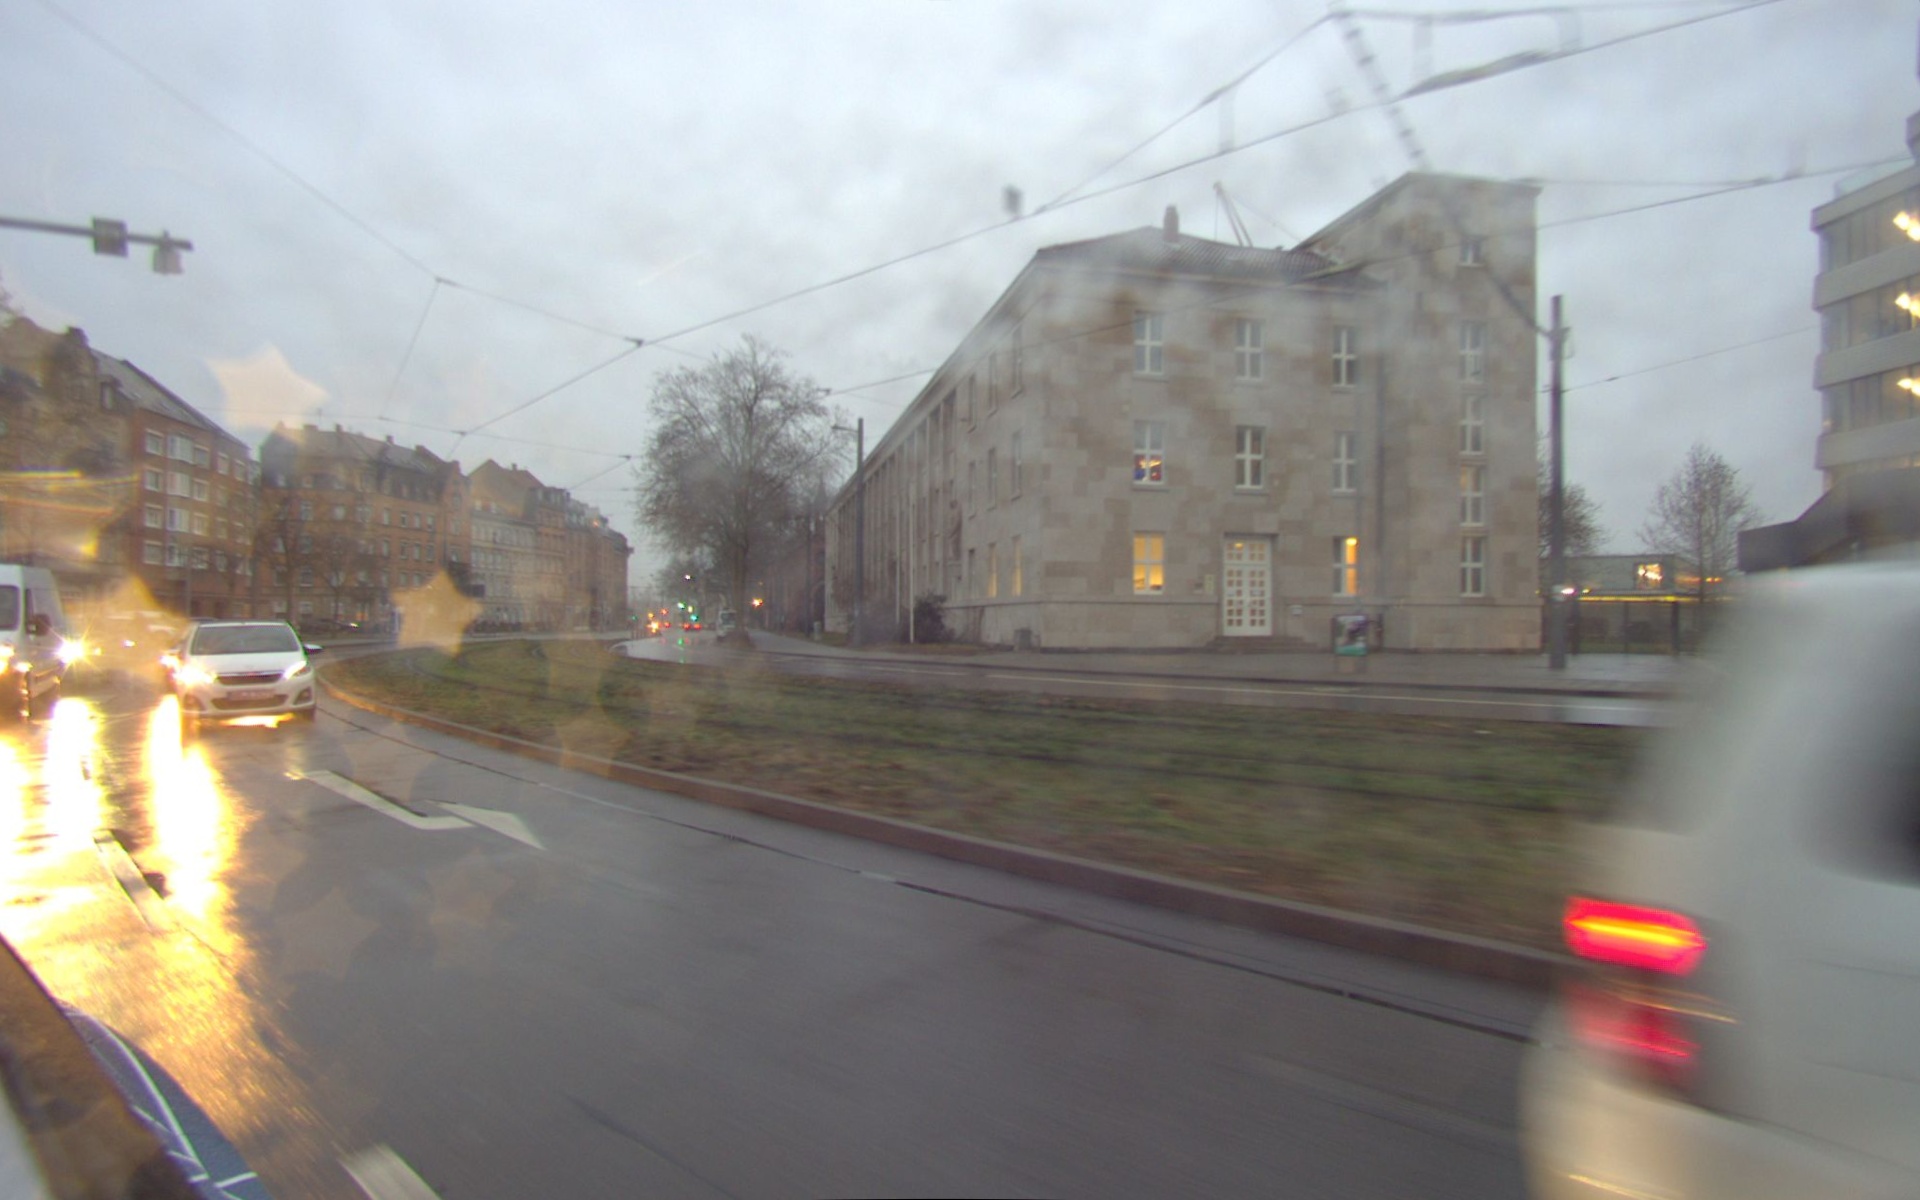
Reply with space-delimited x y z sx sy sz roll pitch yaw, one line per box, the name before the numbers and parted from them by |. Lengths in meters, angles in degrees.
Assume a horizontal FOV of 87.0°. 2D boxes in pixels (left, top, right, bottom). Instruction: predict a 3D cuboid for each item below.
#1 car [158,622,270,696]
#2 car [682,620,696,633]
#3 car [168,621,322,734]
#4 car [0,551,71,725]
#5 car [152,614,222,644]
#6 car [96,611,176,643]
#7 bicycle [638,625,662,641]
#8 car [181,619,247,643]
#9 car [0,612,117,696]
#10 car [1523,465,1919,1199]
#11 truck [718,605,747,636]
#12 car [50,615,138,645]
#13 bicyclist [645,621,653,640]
car | -16.789 1.274 22.941 1.846 1.486 4.181 0 -2 -34
car | -36.390 3.574 135.960 1.662 1.652 3.657 1 -2 -14
car | -10.514 1.030 14.829 1.663 1.441 3.353 0 -1 -38
car | -16.037 0.588 16.230 2.207 2.481 5.682 0 -1 -37
car | -44.577 1.676 58.448 3.134 1.636 1.449 1 -2 -36
car | -43.196 1.442 53.144 3.134 1.636 1.431 1 -2 -36
bicycle | -33.468 3.546 109.243 2.411 1.719 0.848 0 0 -18
car | -45.215 1.901 61.389 3.133 1.424 1.385 1 -2 -34
car | -20.272 1.136 22.542 1.846 1.701 4.182 0 -1 -34
car | 3.049 0.591 0.869 4.221 1.611 1.654 -1 -1 41
truck | -15.471 1.389 68.928 1.808 2.060 4.009 0 -2 -11
car | -42.680 1.477 49.951 3.134 1.440 1.431 1 -2 -36
bicyclist | -33.560 3.253 109.212 0.766 2.029 0.832 0 0 -17
